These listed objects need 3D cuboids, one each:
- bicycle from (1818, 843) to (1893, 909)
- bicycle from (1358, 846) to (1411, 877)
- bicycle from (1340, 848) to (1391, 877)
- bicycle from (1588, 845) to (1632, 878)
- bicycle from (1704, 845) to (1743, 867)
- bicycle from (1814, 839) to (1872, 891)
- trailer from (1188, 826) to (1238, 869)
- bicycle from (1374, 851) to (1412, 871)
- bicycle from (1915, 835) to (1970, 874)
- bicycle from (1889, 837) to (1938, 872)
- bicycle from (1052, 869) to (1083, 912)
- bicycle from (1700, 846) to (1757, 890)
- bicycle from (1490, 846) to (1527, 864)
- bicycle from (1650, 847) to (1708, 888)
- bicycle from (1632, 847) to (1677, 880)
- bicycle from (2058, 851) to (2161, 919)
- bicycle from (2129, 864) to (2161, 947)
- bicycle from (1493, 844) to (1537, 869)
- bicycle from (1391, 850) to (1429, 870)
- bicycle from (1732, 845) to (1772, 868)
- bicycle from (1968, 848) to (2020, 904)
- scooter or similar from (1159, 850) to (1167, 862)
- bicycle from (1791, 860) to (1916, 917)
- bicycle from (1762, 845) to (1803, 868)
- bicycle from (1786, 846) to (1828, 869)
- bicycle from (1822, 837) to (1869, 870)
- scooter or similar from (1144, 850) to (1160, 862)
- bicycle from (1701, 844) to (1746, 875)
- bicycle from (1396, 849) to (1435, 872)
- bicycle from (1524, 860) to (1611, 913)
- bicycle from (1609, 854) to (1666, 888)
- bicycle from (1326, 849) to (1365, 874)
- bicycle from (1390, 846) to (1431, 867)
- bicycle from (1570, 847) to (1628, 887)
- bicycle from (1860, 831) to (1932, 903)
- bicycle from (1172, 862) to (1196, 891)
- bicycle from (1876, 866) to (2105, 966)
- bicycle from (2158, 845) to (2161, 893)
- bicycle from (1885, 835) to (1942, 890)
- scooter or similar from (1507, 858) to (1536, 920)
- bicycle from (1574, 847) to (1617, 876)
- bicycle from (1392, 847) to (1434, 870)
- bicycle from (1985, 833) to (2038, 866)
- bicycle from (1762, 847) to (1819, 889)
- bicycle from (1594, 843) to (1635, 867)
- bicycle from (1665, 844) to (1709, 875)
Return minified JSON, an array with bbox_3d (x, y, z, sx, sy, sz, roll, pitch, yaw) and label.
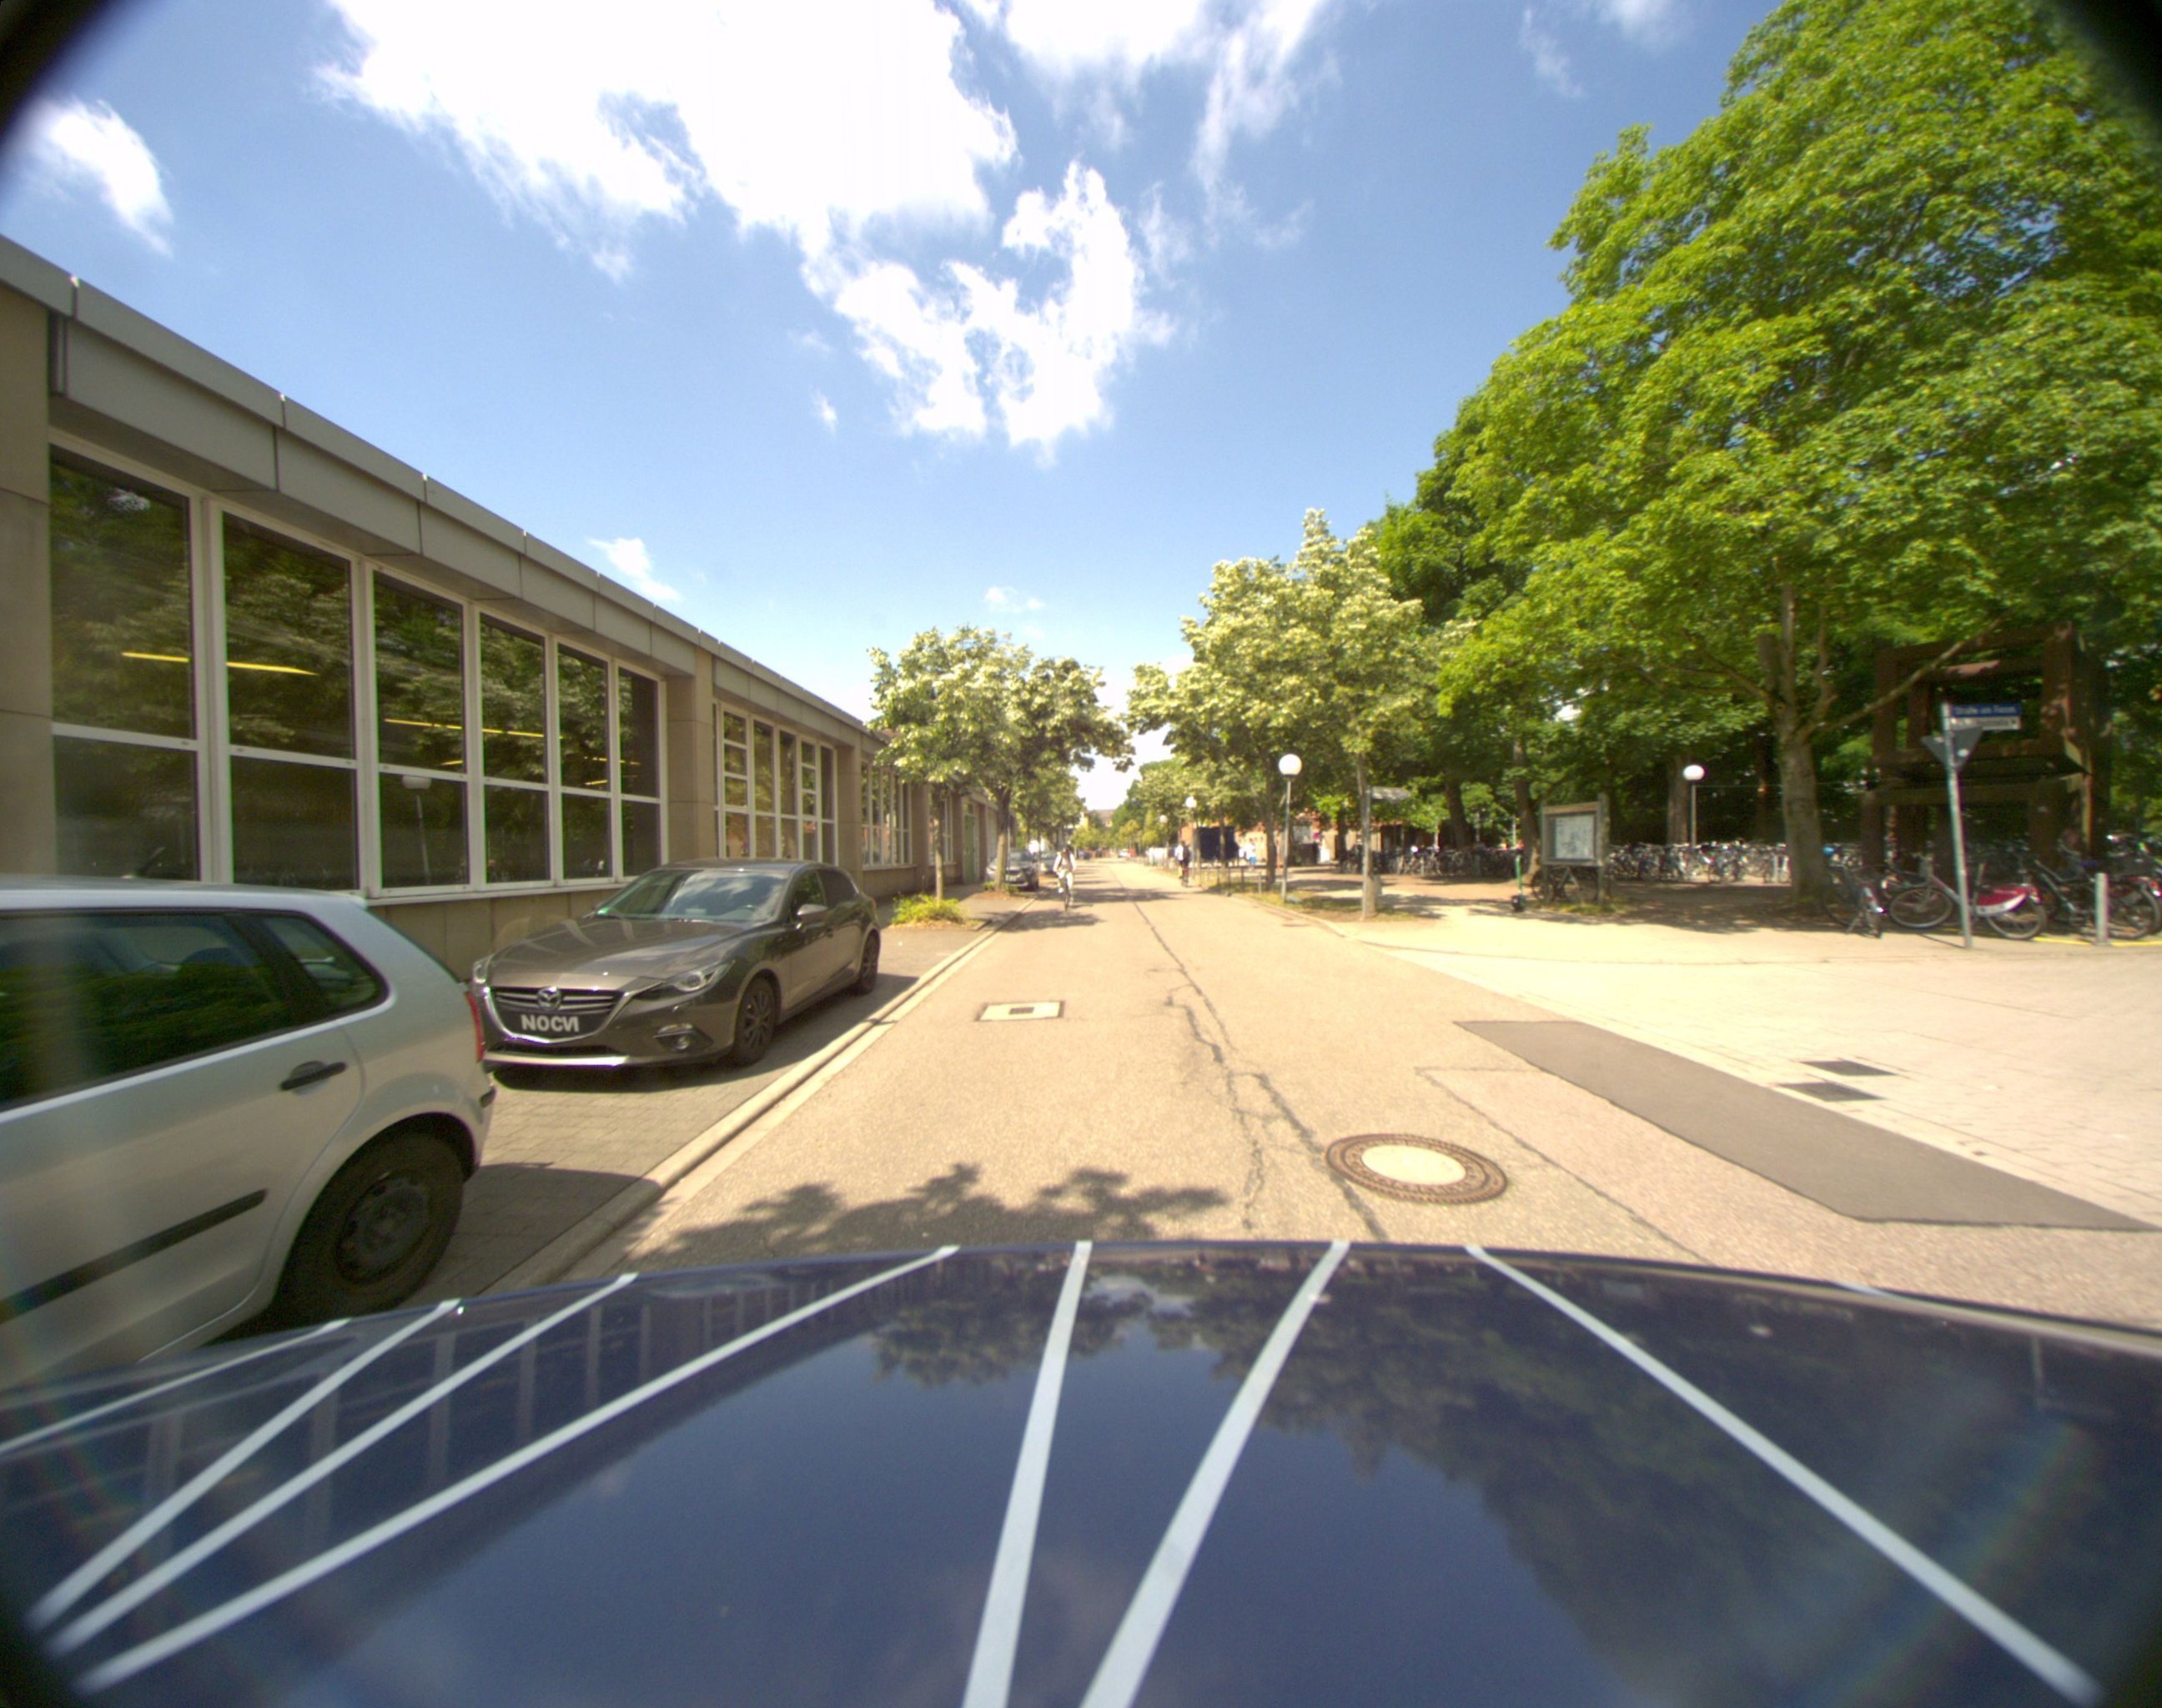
[{"bbox_3d":[15.449,0.408,15.144,2.024,1.246,0.586,0,0,-31],"label":"bicycle"},{"bbox_3d":[13.455,0.314,33.717,2.061,1.227,0.808,-3,1,-16],"label":"bicycle"},{"bbox_3d":[13.003,0.392,34.699,2.062,1.227,0.808,-2,1,-16],"label":"bicycle"},{"bbox_3d":[20.124,0.284,28.896,2.064,1.151,0.638,-2,0,-34],"label":"bicycle"},{"bbox_3d":[28.041,0.067,33.138,1.769,0.888,0.418,-2,1,-18],"label":"bicycle"},{"bbox_3d":[20.542,0.270,20.464,2.939,1.279,0.880,-2,1,-41],"label":"bicycle"},{"bbox_3d":[9.857,-0.468,57.225,2.703,3.009,6.266,-2,0,1],"label":"trailer"},{"bbox_3d":[16.868,0.355,41.132,1.806,1.008,0.537,-2,1,4],"label":"bicycle"},{"bbox_3d":[26.711,0.001,23.548,2.309,1.102,0.733,-2,1,-31],"label":"bicycle"},{"bbox_3d":[30.343,0.030,27.687,1.798,1.200,0.423,-2,1,-15],"label":"bicycle"},{"bbox_3d":[-0.350,0.984,21.015,0.675,1.066,2.136,-1,0,3],"label":"bicycle"},{"bbox_3d":[19.213,0.394,22.524,2.714,1.172,0.880,-2,0,-41],"label":"bicycle"},{"bbox_3d":[23.803,0.072,42.282,1.884,0.937,0.546,-2,2,-12],"label":"bicycle"},{"bbox_3d":[18.822,0.393,23.869,2.889,1.171,0.880,-2,0,-41],"label":"bicycle"},{"bbox_3d":[21.107,0.353,27.965,2.064,1.126,0.638,-2,0,-34],"label":"bicycle"},{"bbox_3d":[16.893,0.478,12.047,0.476,1.026,1.850,-1,0,2],"label":"bicycle"},{"bbox_3d":[14.659,0.690,9.447,0.553,1.080,1.973,-3,0,2],"label":"bicycle"},{"bbox_3d":[20.083,0.131,35.157,1.968,1.083,0.546,-2,1,-15],"label":"bicycle"},{"bbox_3d":[18.044,0.314,41.672,1.806,1.008,0.537,-2,1,4],"label":"bicycle"},{"bbox_3d":[28.512,0.100,32.281,1.769,0.888,0.418,-2,1,-18],"label":"bicycle"},{"bbox_3d":[22.220,0.494,18.533,2.966,1.120,0.741,-5,2,-41],"label":"bicycle"},{"bbox_3d":[8.315,0.216,76.825,0.564,1.142,1.351,-1,1,13],"label":"scooter or similar"},{"bbox_3d":[14.234,0.606,14.061,0.477,0.959,1.655,-2,1,-10],"label":"bicycle"},{"bbox_3d":[28.979,0.112,31.386,1.769,0.888,0.418,-2,1,-18],"label":"bicycle"},{"bbox_3d":[29.262,0.136,30.626,1.769,0.888,0.418,-2,1,-18],"label":"bicycle"},{"bbox_3d":[29.677,-0.035,29.500,1.798,1.200,0.423,-2,1,-15],"label":"bicycle"},{"bbox_3d":[7.404,0.161,79.417,1.571,1.218,0.571,-1,1,28],"label":"scooter or similar"},{"bbox_3d":[23.876,0.201,28.235,1.970,1.083,0.546,-2,1,-28],"label":"bicycle"},{"bbox_3d":[16.540,0.309,37.579,1.862,1.083,0.546,-2,1,-20],"label":"bicycle"},{"bbox_3d":[10.195,0.648,15.991,0.383,1.020,1.813,-2,1,-11],"label":"bicycle"},{"bbox_3d":[18.165,0.533,24.761,2.739,0.997,0.880,-2,0,-41],"label":"bicycle"},{"bbox_3d":[12.635,0.350,36.267,1.780,1.125,0.458,-2,1,-16],"label":"bicycle"},{"bbox_3d":[17.373,0.133,40.038,1.967,0.997,0.537,-2,1,-9],"label":"bicycle"},{"bbox_3d":[17.607,0.419,25.779,2.914,1.213,0.880,-2,0,-41],"label":"bicycle"},{"bbox_3d":[17.544,0.251,16.343,2.294,1.441,0.605,-2,1,-31],"label":"bicycle"},{"bbox_3d":[4.274,0.927,31.601,0.687,1.123,1.888,-1,0,-1],"label":"bicycle"},{"bbox_3d":[11.441,0.725,9.681,0.553,1.080,1.973,-3,0,2],"label":"bicycle"},{"bbox_3d":[24.123,0.410,16.404,2.768,1.062,0.741,-5,2,-41],"label":"bicycle"},{"bbox_3d":[21.240,0.190,19.370,3.089,1.289,0.880,-2,0,-41],"label":"bicycle"},{"bbox_3d":[8.888,0.686,15.311,0.339,1.169,1.331,-1,1,37],"label":"scooter or similar"},{"bbox_3d":[20.651,0.285,30.490,1.970,1.083,0.546,-2,1,-28],"label":"bicycle"},{"bbox_3d":[17.128,0.218,39.158,1.967,1.119,0.537,-2,1,-9],"label":"bicycle"},{"bbox_3d":[31.111,-0.144,25.397,2.064,1.029,0.505,-2,1,-22],"label":"bicycle"},{"bbox_3d":[20.009,0.367,21.393,2.689,1.070,0.880,-2,0,-41],"label":"bicycle"},{"bbox_3d":[25.585,0.029,36.425,1.960,1.085,0.596,-2,2,-21],"label":"bicycle"},{"bbox_3d":[23.339,0.207,29.261,1.970,1.083,0.546,-2,1,-28],"label":"bicycle"}]
